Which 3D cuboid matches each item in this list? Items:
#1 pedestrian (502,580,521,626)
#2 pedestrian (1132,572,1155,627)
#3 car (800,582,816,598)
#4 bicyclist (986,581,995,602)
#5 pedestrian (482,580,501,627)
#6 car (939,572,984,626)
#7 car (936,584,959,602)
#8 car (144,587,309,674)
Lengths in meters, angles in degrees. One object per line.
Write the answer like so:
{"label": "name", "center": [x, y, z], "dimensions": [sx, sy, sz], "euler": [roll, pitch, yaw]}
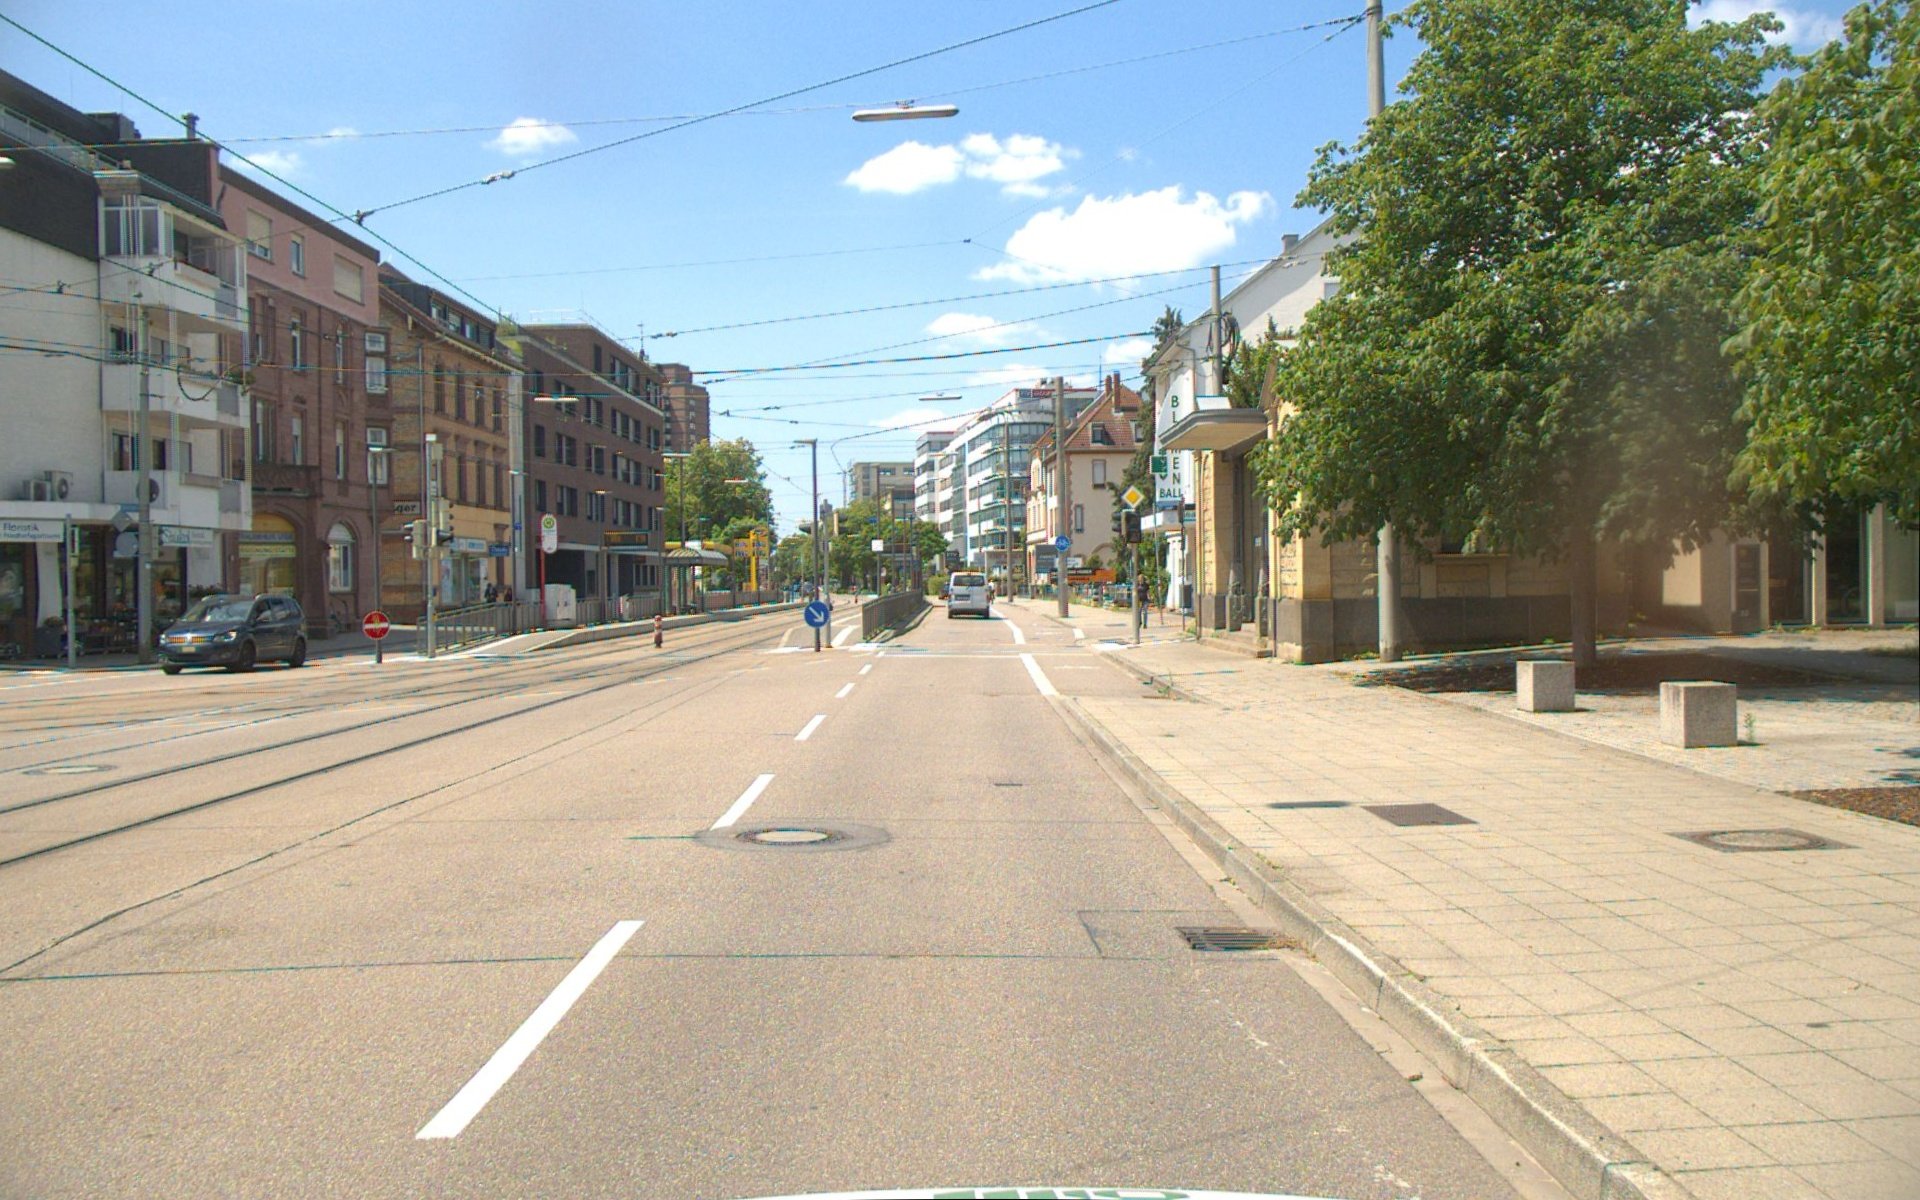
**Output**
{"label": "pedestrian", "center": [-19.948, 0.119, 73.512], "dimensions": [0.663, 2.049, 0.684], "euler": [0, 0, -2]}
{"label": "pedestrian", "center": [5.383, -0.015, 48.574], "dimensions": [0.565, 1.583, 0.786], "euler": [-3, 0, 3]}
{"label": "car", "center": [-19.516, -1.243, 212.187], "dimensions": [1.667, 1.644, 3.750], "euler": [-5, -2, -8]}
{"label": "bicyclist", "center": [2.110, -0.571, 114.048], "dimensions": [0.579, 1.421, 0.841], "euler": [-1, 0, -5]}
{"label": "pedestrian", "center": [-20.770, 0.158, 73.289], "dimensions": [0.605, 2.049, 0.810], "euler": [-1, 0, -2]}
{"label": "car", "center": [0.035, -0.089, 67.357], "dimensions": [1.716, 2.048, 4.000], "euler": [-2, 1, 0]}
{"label": "car", "center": [-1.299, -0.677, 167.398], "dimensions": [1.827, 1.716, 4.995], "euler": [-2, 1, -5]}
{"label": "car", "center": [-15.748, 0.598, 35.763], "dimensions": [1.689, 1.712, 4.278], "euler": [-1, 1, -1]}
